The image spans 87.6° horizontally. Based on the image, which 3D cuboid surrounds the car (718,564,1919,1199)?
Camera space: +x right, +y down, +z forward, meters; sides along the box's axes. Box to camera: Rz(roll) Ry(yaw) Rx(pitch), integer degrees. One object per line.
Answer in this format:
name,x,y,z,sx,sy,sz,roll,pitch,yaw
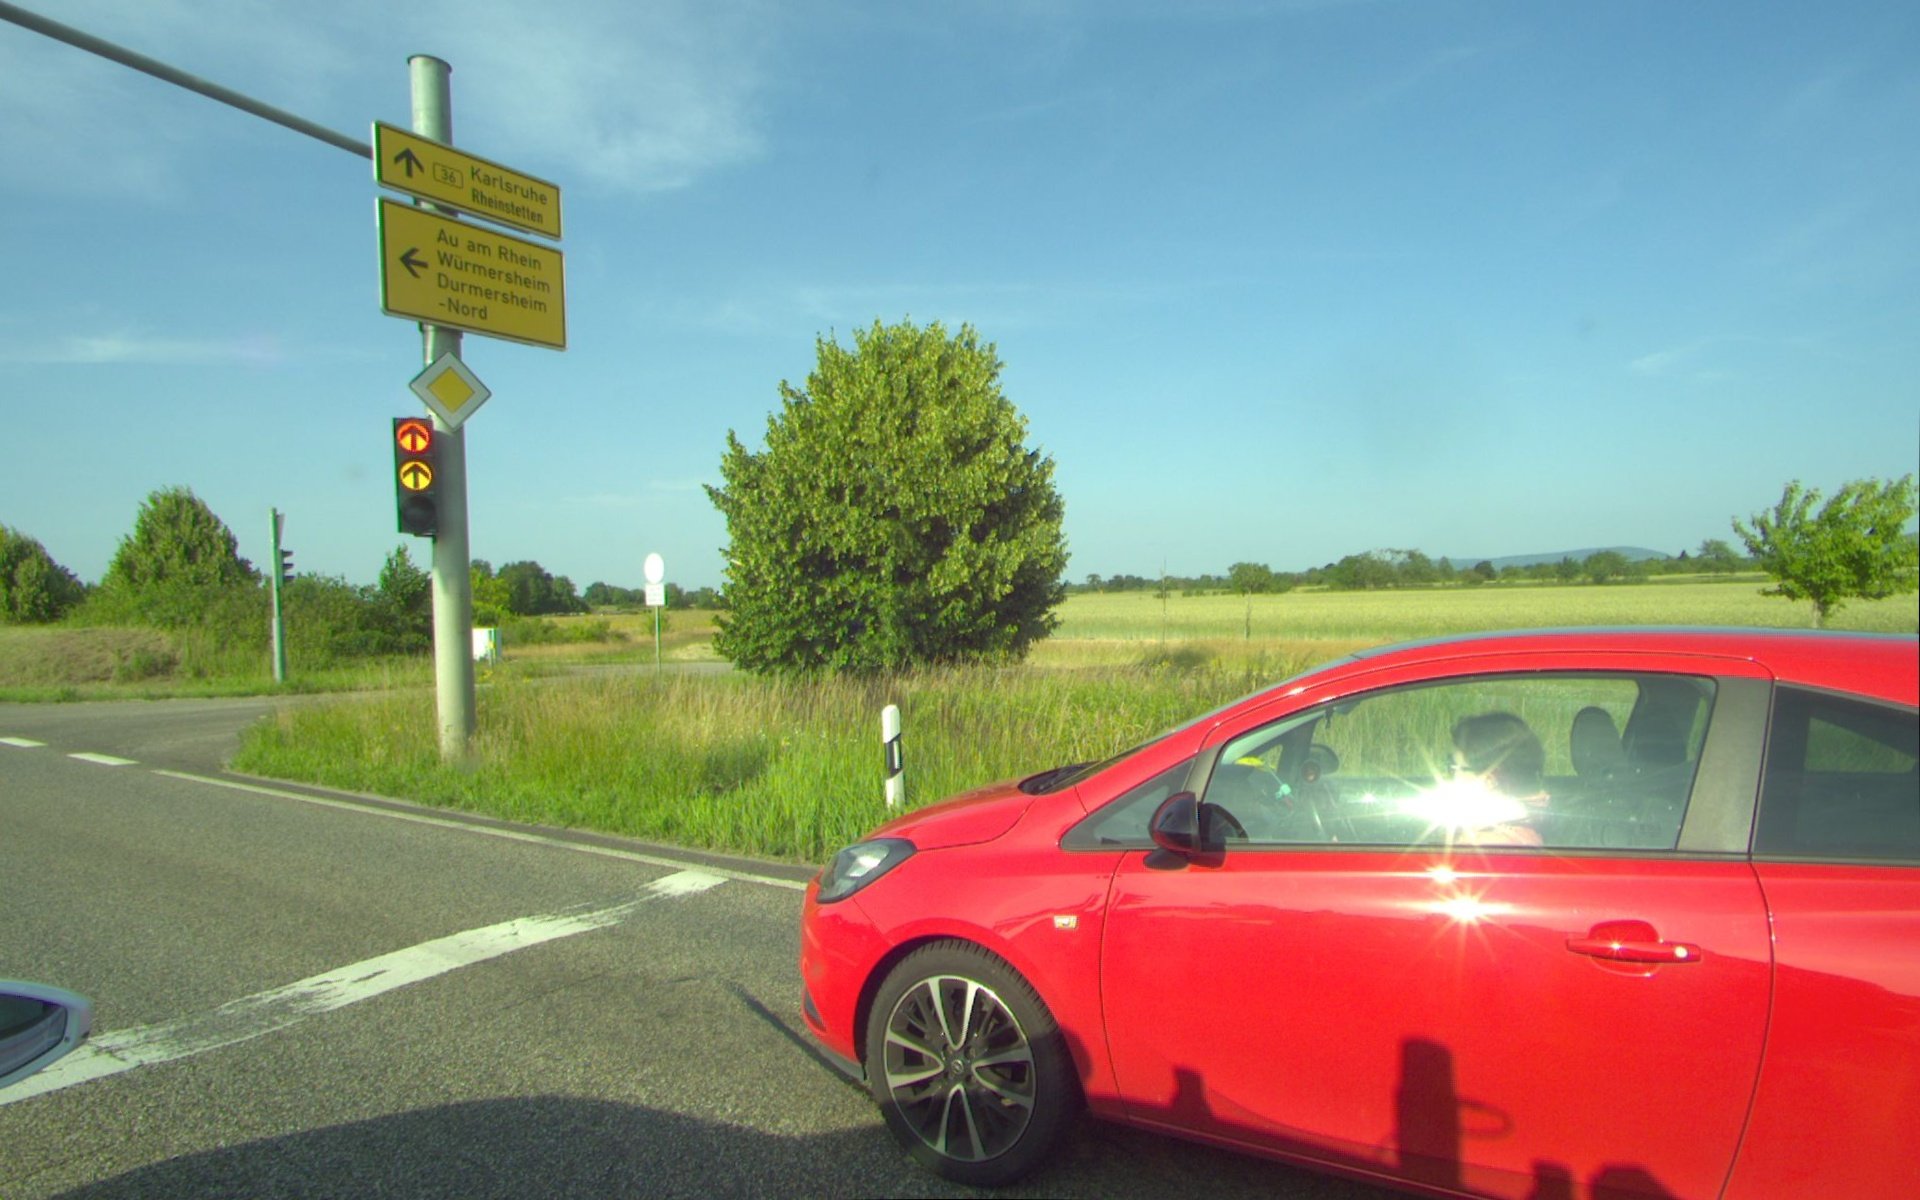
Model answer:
car,1.302,0.741,2.833,3.693,1.569,1.695,-1,0,29
